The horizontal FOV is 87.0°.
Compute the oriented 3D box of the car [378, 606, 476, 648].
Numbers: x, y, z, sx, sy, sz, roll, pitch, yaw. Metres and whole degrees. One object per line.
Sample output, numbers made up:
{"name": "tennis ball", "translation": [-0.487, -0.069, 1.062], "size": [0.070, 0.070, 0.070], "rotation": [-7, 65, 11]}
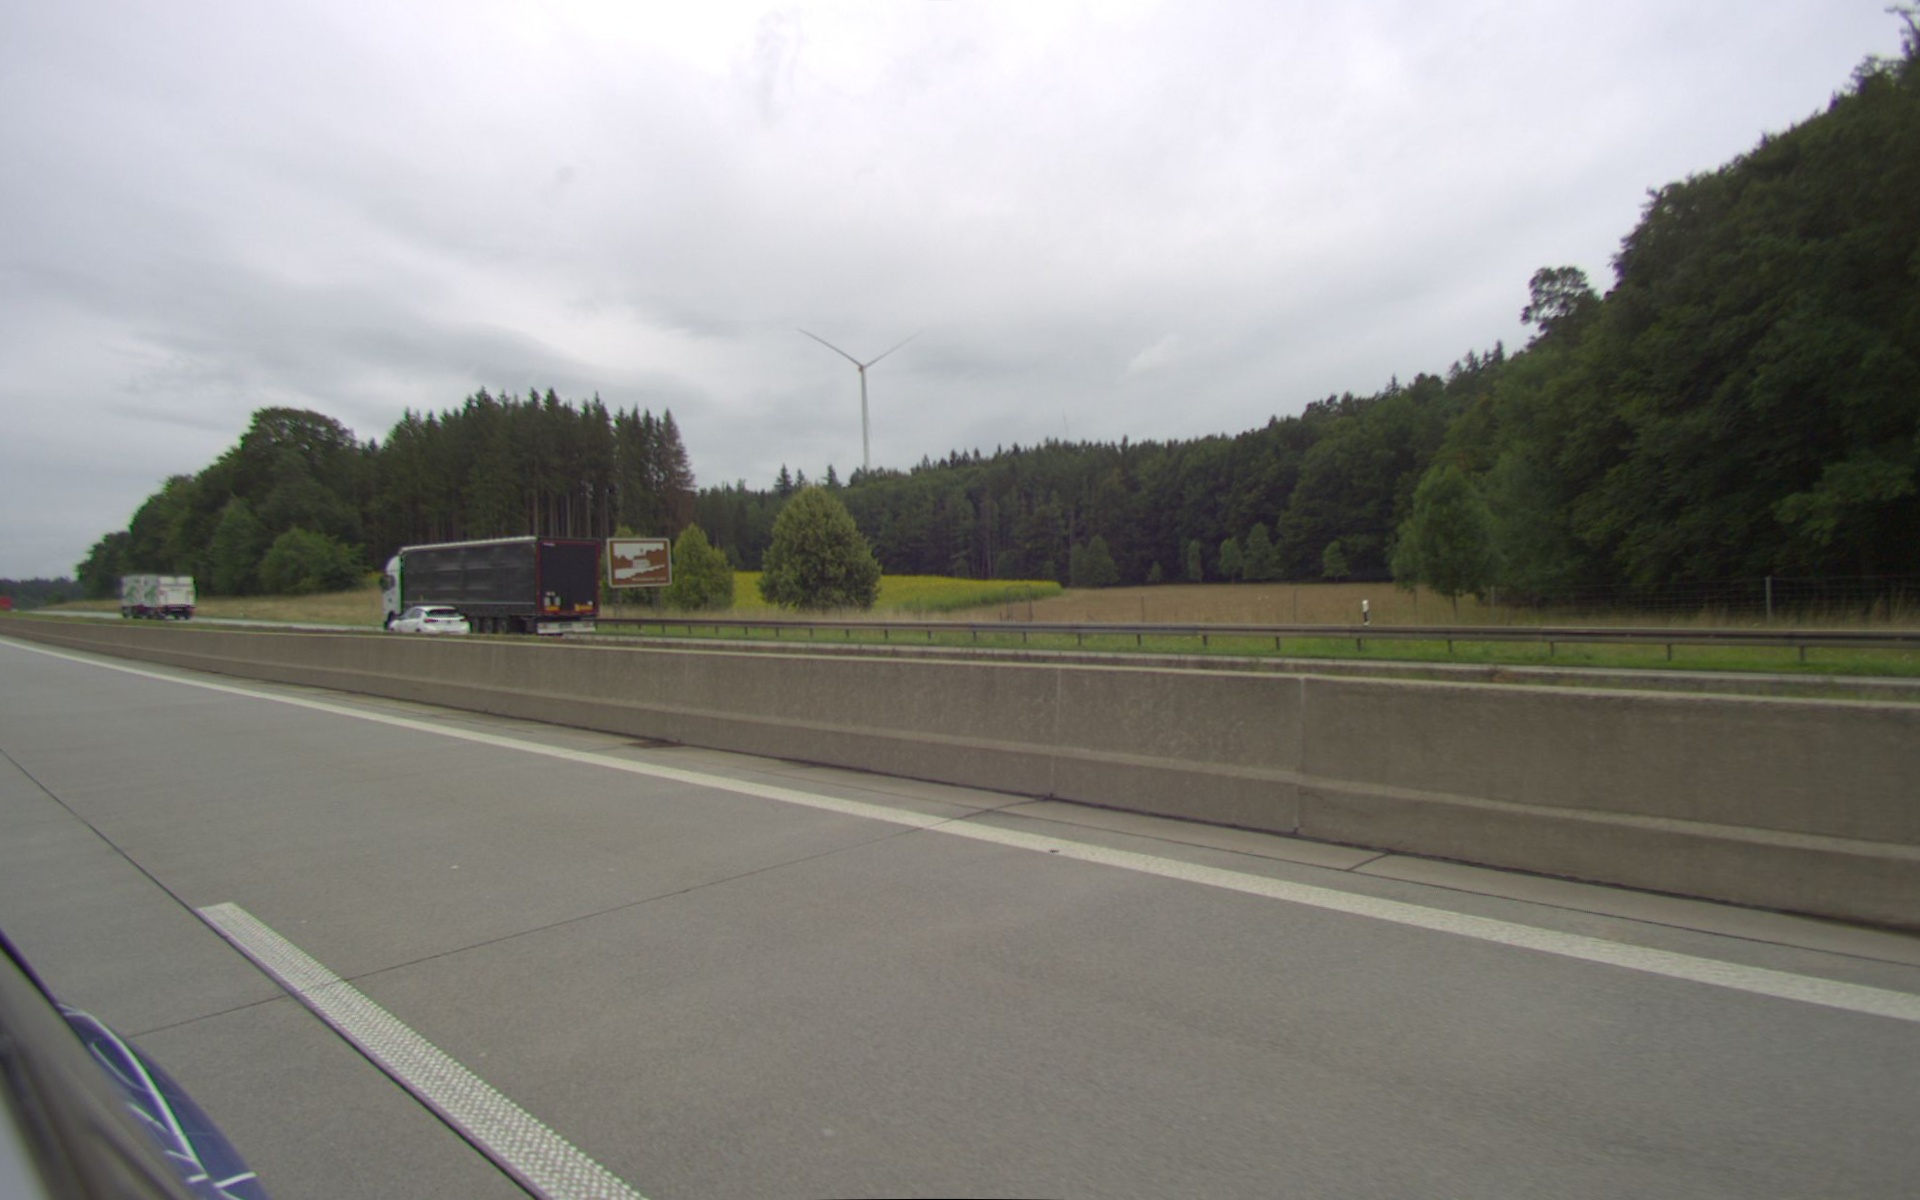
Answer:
{"name": "car", "translation": [-19.767, 1.001, 37.460], "size": [4.369, 1.479, 1.765], "rotation": [-2, -1, 41]}

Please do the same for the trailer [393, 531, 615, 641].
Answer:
{"name": "trailer", "translation": [-19.964, -0.476, 43.490], "size": [14.126, 4.083, 3.201], "rotation": [-1, 0, 42]}

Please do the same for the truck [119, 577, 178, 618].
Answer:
{"name": "truck", "translation": [-77.714, -0.235, 96.783], "size": [11.351, 3.801, 2.782], "rotation": [0, 1, 43]}

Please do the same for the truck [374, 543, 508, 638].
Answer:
{"name": "truck", "translation": [-24.461, -0.394, 47.535], "size": [7.163, 4.088, 3.179], "rotation": [-1, 0, 42]}

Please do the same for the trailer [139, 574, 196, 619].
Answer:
{"name": "trailer", "translation": [-70.725, -0.297, 90.273], "size": [7.715, 3.811, 2.788], "rotation": [-1, 0, 43]}
